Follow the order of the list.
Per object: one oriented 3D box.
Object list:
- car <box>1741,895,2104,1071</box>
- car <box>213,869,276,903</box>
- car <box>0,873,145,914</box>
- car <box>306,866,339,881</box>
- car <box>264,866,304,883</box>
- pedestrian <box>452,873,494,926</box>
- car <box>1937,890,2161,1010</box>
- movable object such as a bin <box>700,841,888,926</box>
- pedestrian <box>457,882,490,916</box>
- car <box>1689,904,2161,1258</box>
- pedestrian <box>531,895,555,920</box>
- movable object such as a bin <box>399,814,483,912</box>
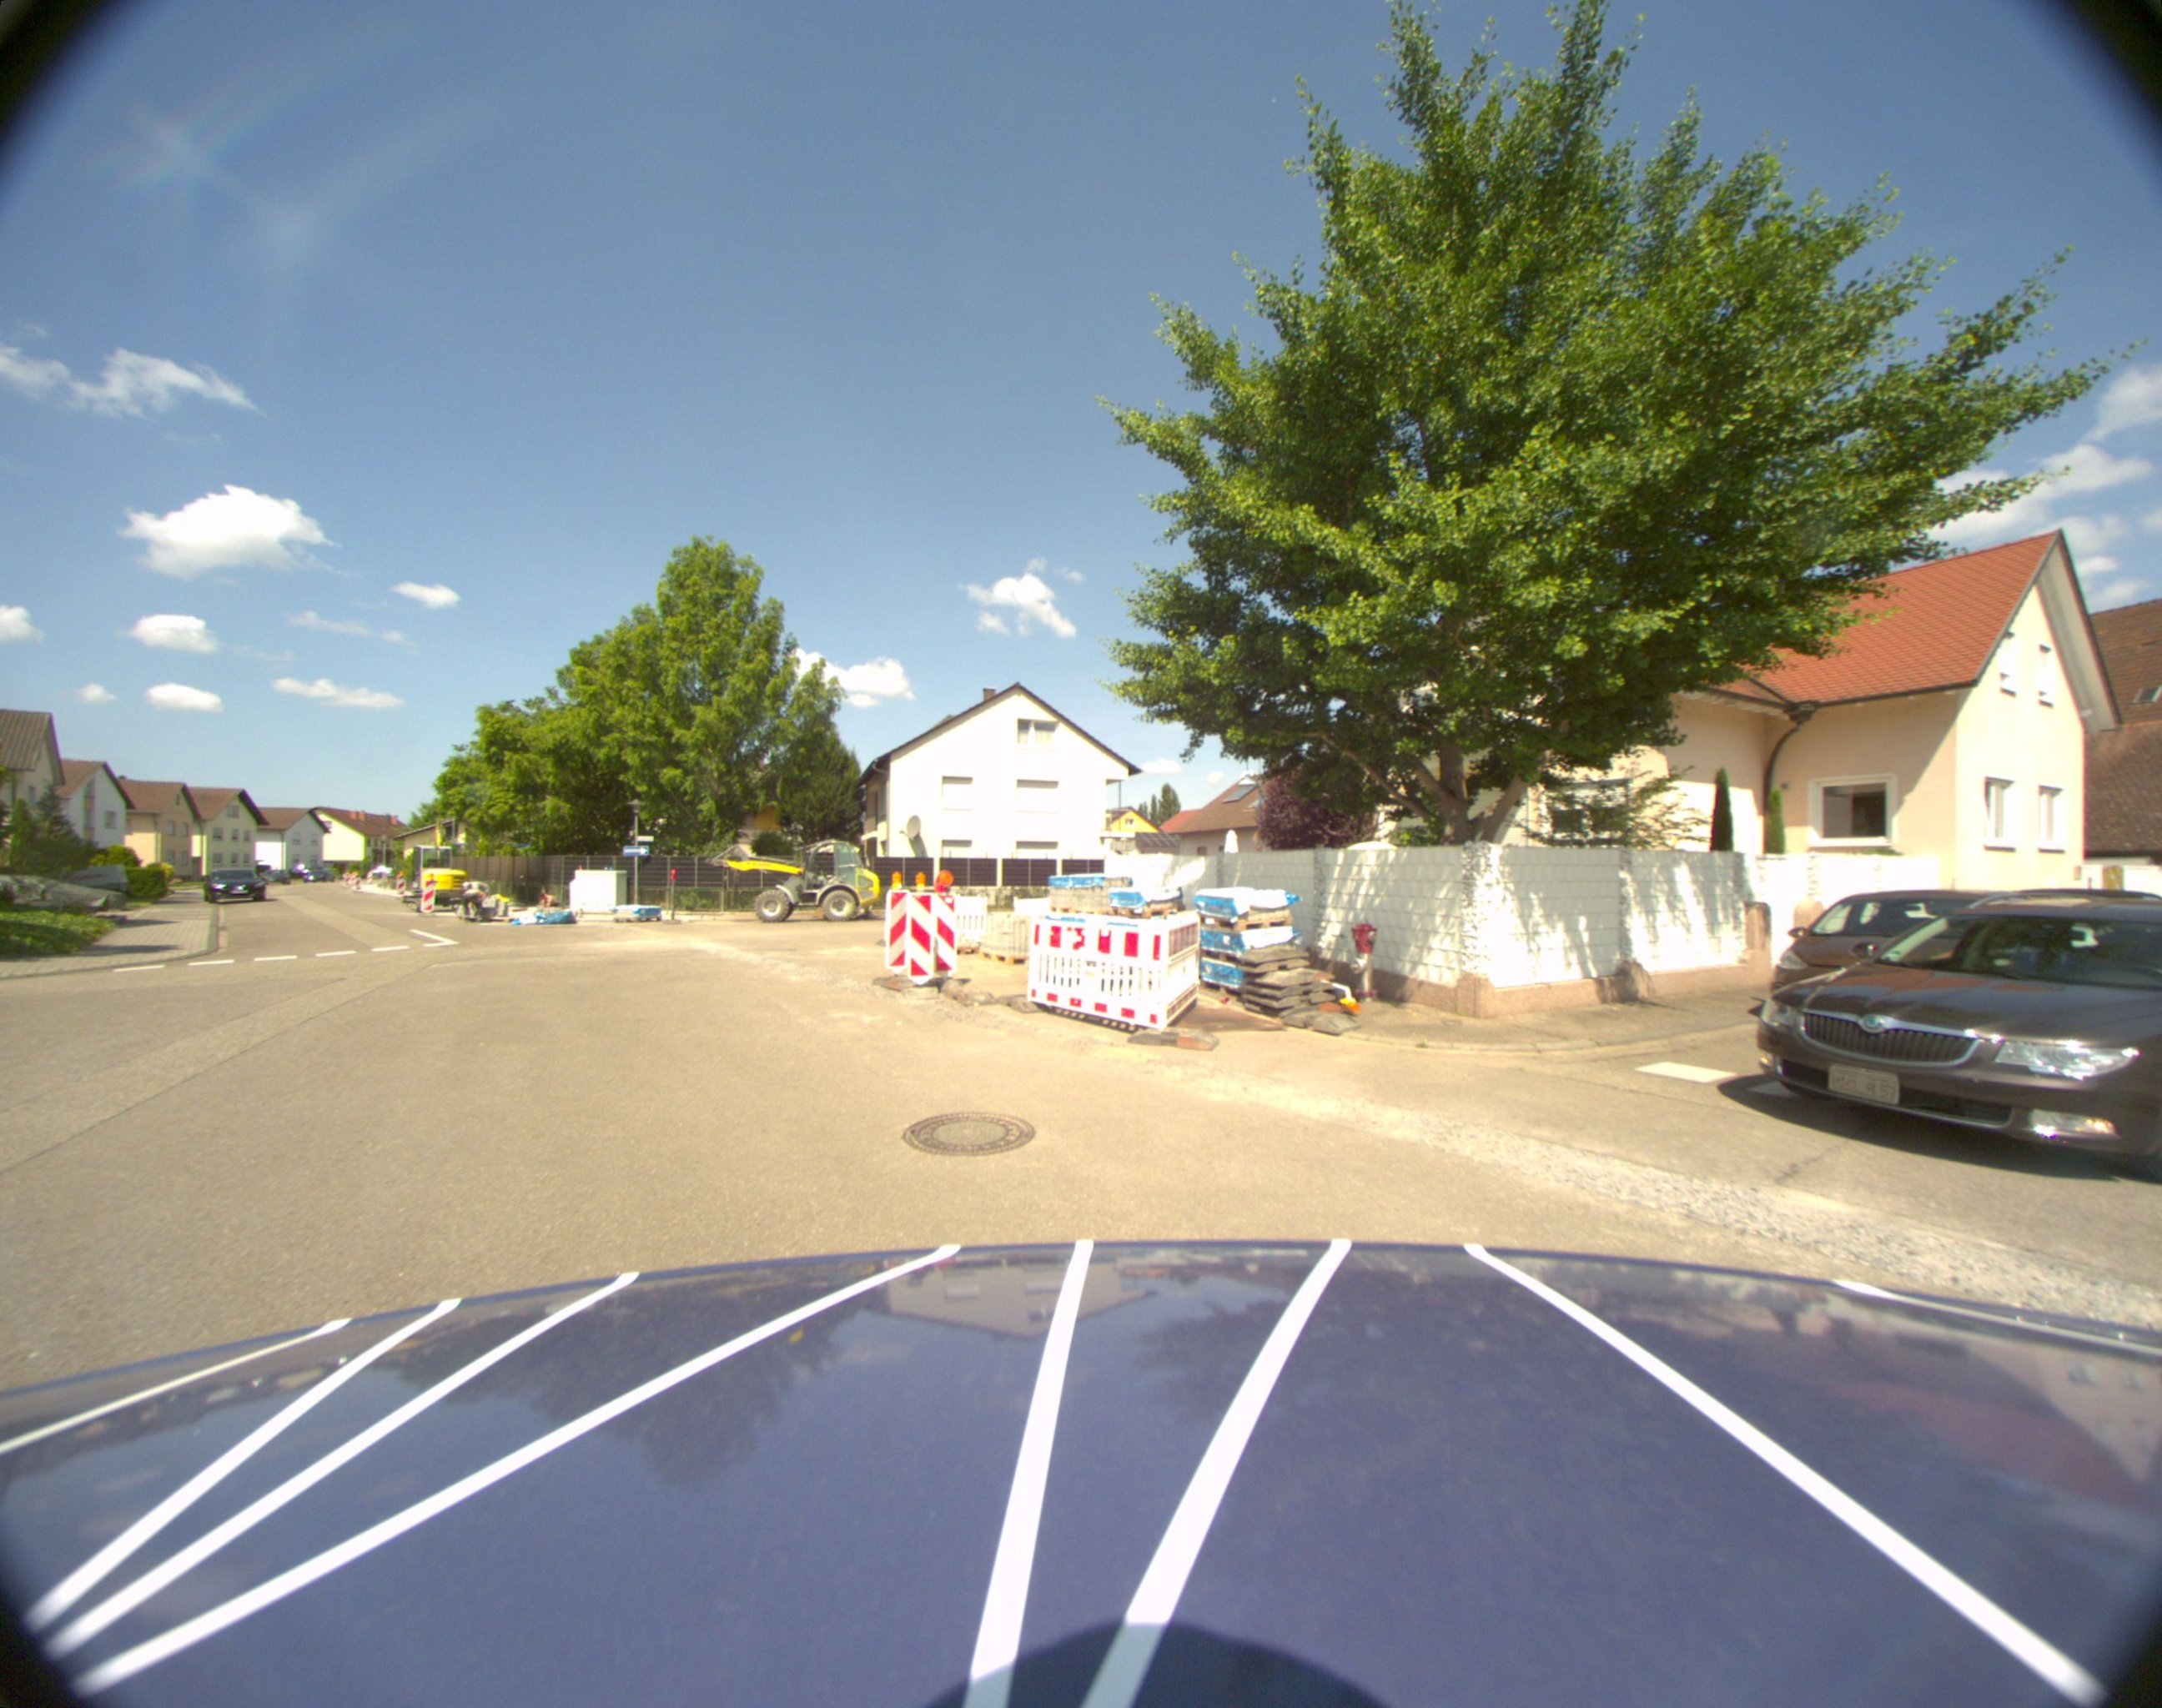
[{"bbox_3d":[9.587,1.279,8.629,4.041,1.522,1.715,0,-4,-27],"label":"car"},{"bbox_3d":[-40.562,1.493,36.826,3.988,1.533,1.924,0,-1,41],"label":"car"},{"bbox_3d":[-36.476,1.360,26.978,1.994,1.334,4.009,0,-1,41],"label":"car"},{"bbox_3d":[-86.925,2.239,87.135,2.003,1.640,3.990,1,-1,-34],"label":"car"},{"bbox_3d":[-78.922,2.038,75.296,1.972,1.640,3.990,1,-1,-34],"label":"car"},{"bbox_3d":[-17.949,1.326,22.442,0.532,1.505,0.851,0,0,1],"label":"pedestrian"},{"bbox_3d":[15.604,1.347,11.842,4.744,1.420,1.898,0,-1,-27],"label":"car"},{"bbox_3d":[-8.702,0.890,23.507,5.235,2.437,1.998,0,-2,-17],"label":"movable object such as a bin"},{"bbox_3d":[-21.902,1.608,27.397,0.511,1.162,0.825,0,0,1],"label":"pedestrian"},{"bbox_3d":[6.610,1.173,5.017,4.714,1.526,1.784,3,-2,-18],"label":"car"},{"bbox_3d":[-18.079,1.804,25.537,0.431,0.788,0.523,0,0,12],"label":"pedestrian"},{"bbox_3d":[-24.738,0.349,29.326,3.804,3.544,2.004,0,0,43],"label":"movable object such as a bin"}]
